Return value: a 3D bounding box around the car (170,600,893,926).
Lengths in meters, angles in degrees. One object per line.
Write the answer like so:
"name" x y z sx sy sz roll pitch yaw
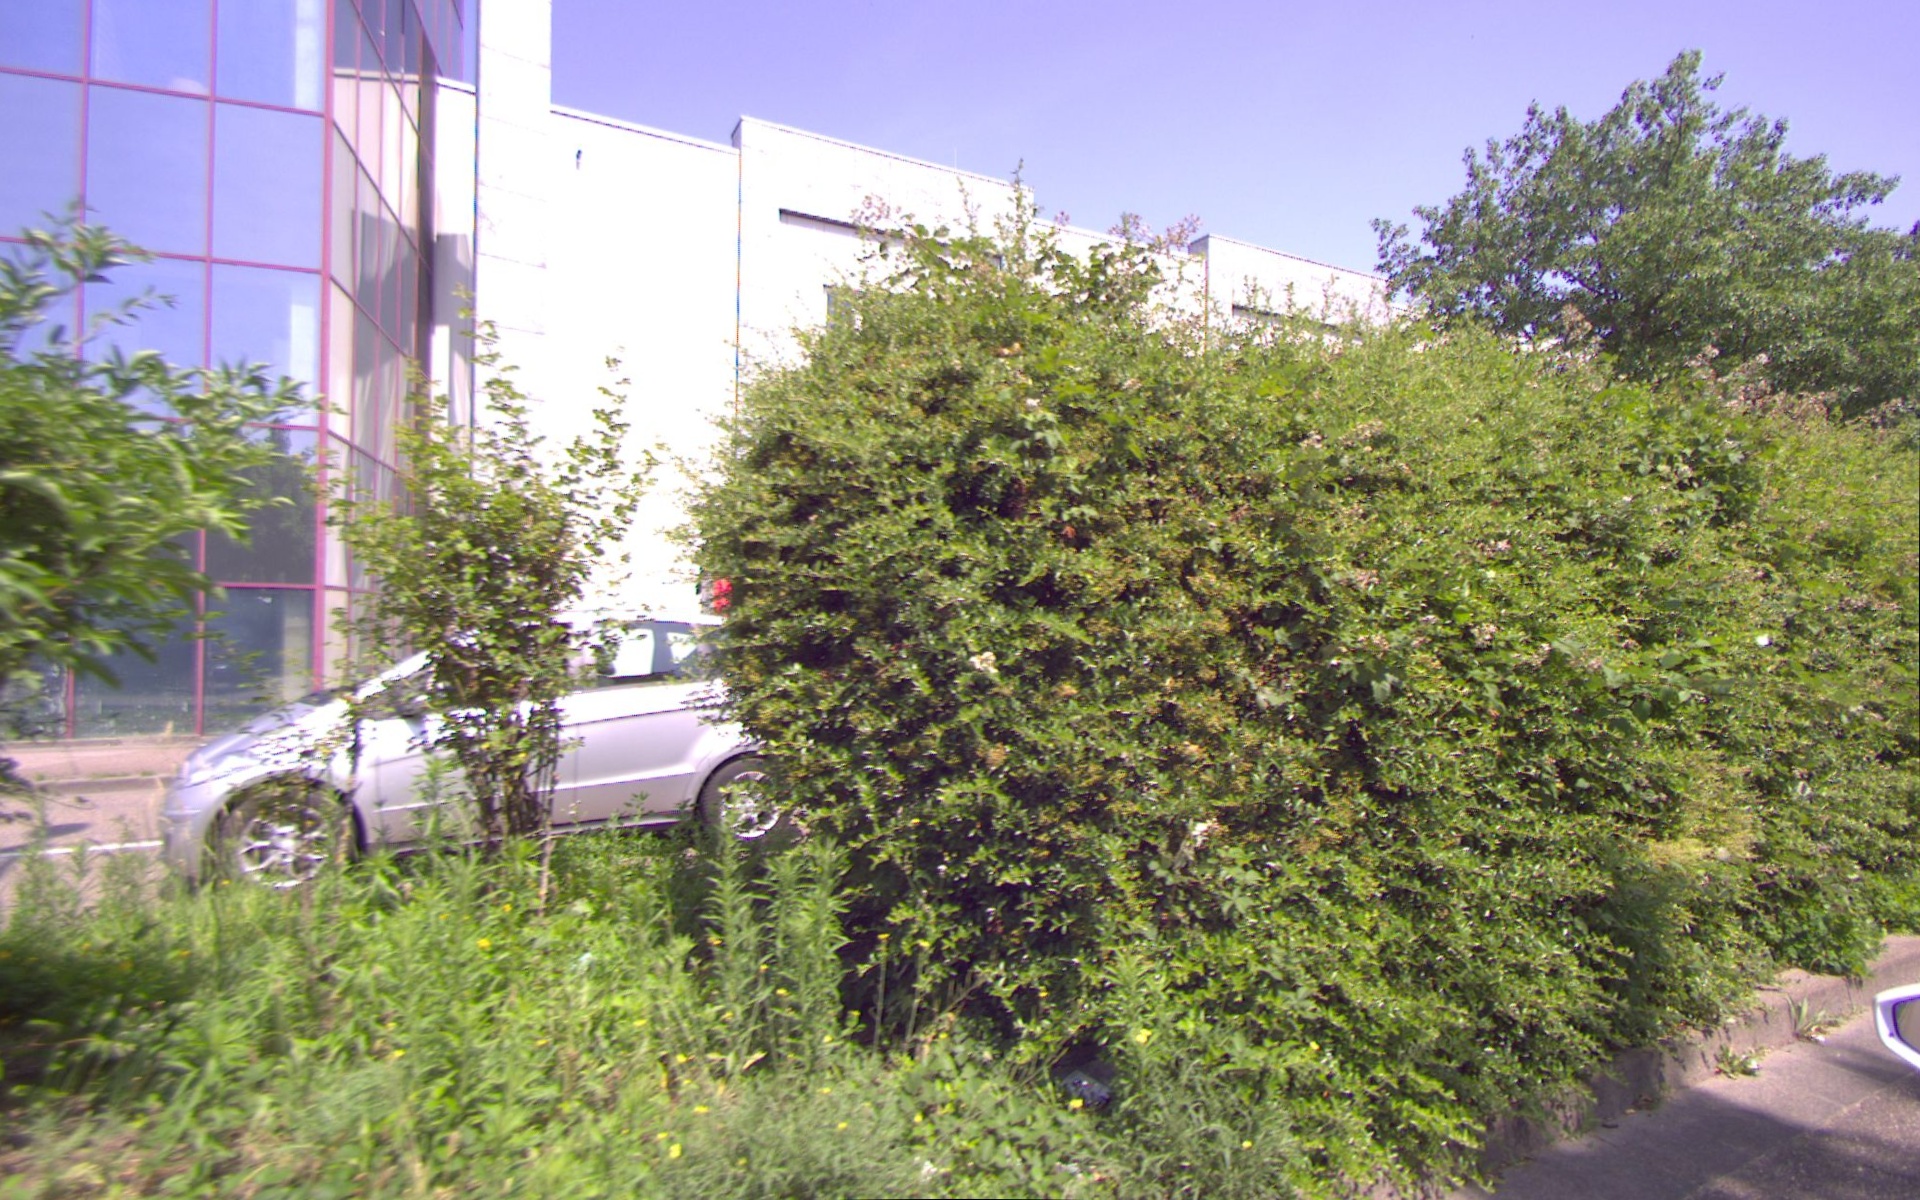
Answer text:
"car" -2.642 0.890 6.817 3.951 1.617 1.920 1 -3 -29
